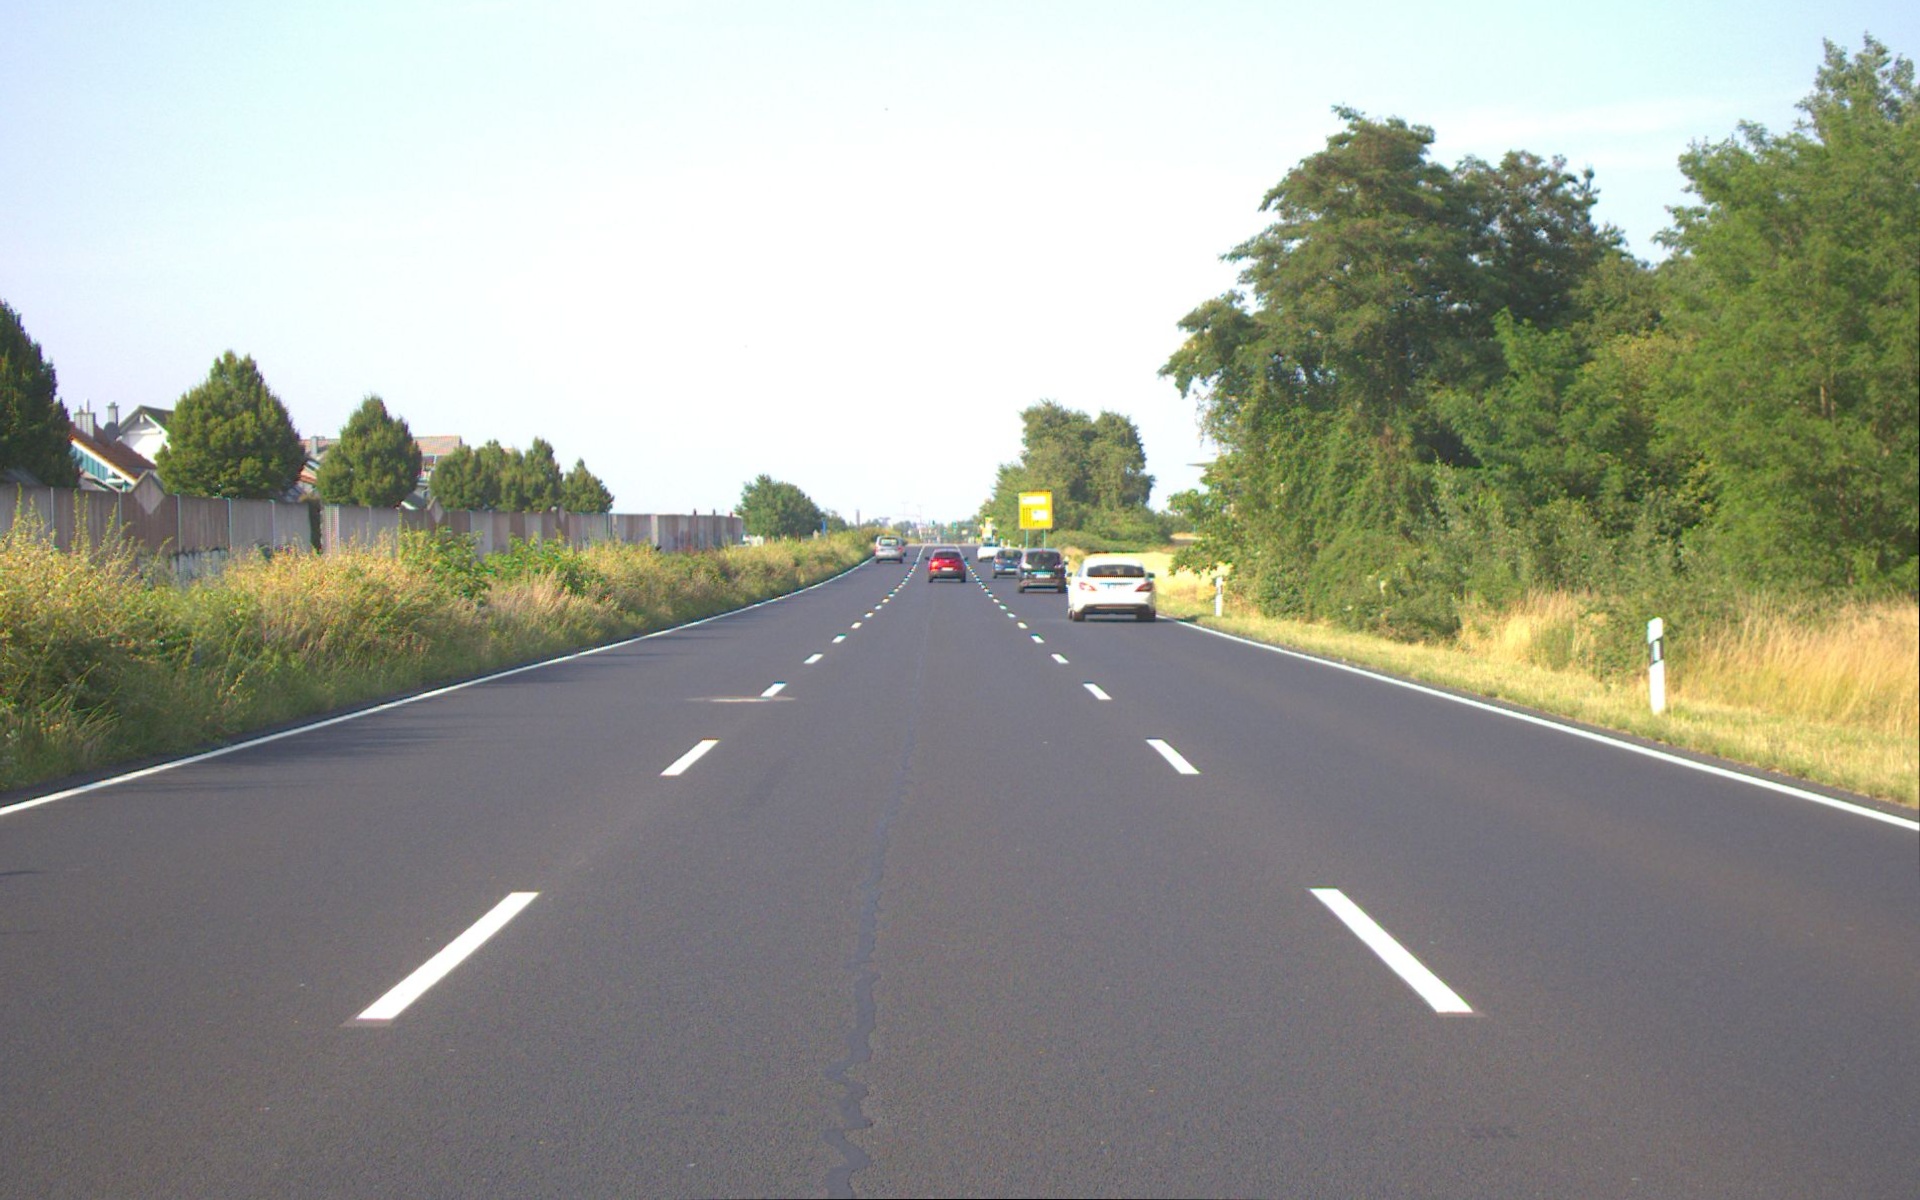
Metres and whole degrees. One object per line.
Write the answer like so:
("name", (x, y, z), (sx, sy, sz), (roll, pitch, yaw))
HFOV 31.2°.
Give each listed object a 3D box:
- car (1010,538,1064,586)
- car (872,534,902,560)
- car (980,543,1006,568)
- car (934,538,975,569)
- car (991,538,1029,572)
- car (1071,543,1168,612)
("car", (2.849, -1.404, 127.951), (1.828, 1.722, 4.000), (1, 0, -1))
("car", (-5.040, -3.662, 237.427), (1.993, 1.711, 4.000), (1, 0, 0))
("car", (2.332, -3.180, 245.568), (1.847, 1.744, 4.000), (1, 0, 0))
("car", (-0.266, -2.142, 158.730), (1.812, 1.431, 3.859), (1, 0, -1))
("car", (2.532, -2.260, 173.670), (1.834, 1.711, 3.862), (1, 0, 0))
("car", (3.596, -0.526, 78.221), (1.993, 1.511, 4.000), (1, 0, 0))
